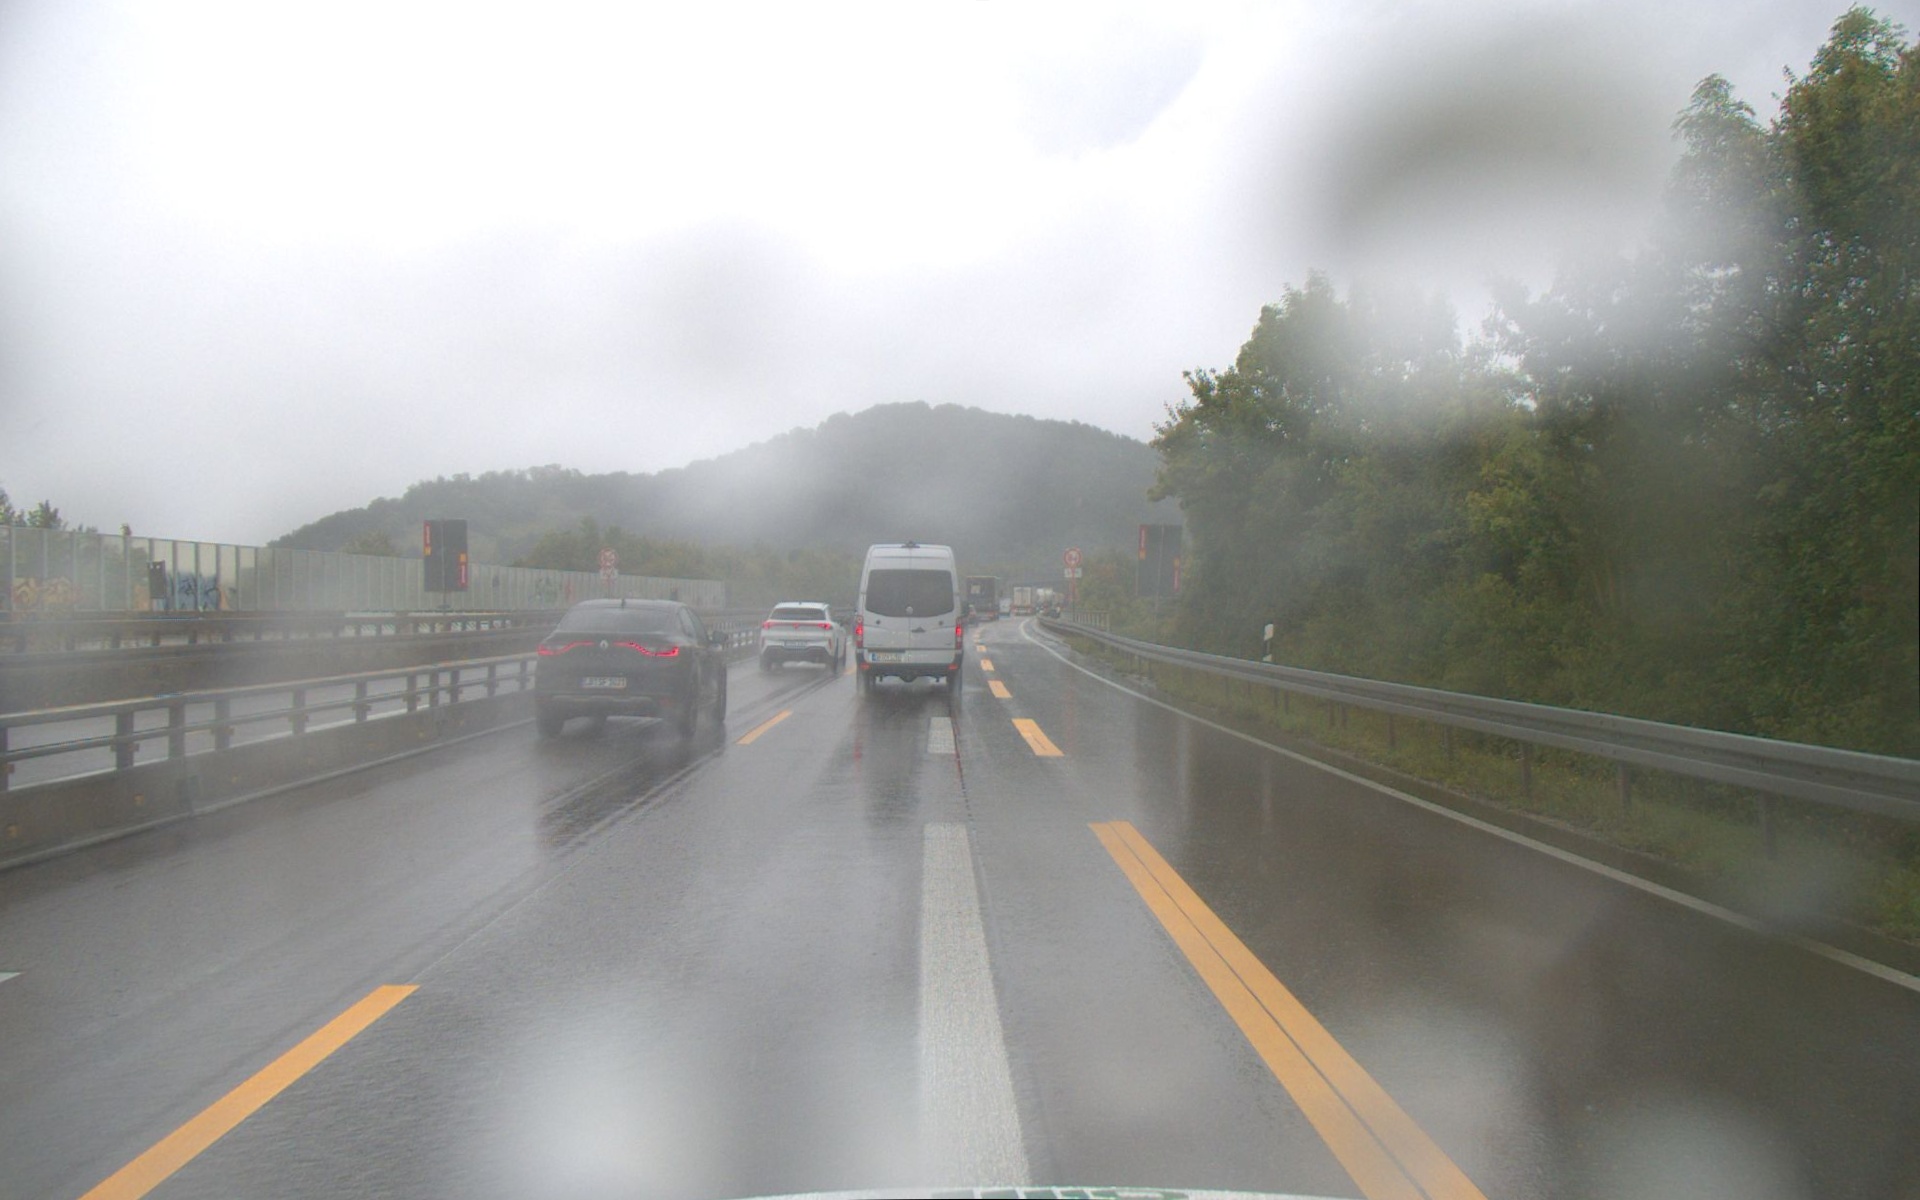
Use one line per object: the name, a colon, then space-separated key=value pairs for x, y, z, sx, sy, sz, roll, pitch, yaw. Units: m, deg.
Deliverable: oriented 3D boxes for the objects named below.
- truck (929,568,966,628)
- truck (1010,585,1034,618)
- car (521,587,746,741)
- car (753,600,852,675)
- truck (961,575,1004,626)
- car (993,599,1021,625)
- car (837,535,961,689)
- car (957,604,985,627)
truck: x=-0.662 y=-0.076 z=93.033 sx=1.953 sy=3.163 sz=8.498 roll=1 pitch=-1 yaw=0
truck: x=8.714 y=0.263 z=232.637 sx=2.972 sy=4.483 sz=9.628 roll=1 pitch=-1 yaw=4
car: x=-3.813 y=0.719 z=20.078 sx=1.953 sy=1.613 sz=4.411 roll=1 pitch=-1 yaw=-2
car: x=-3.716 y=0.875 z=39.872 sx=1.953 sy=1.646 sz=4.795 roll=1 pitch=-1 yaw=-1
truck: x=2.152 y=0.083 z=152.720 sx=3.506 sy=4.483 sz=9.627 roll=1 pitch=-1 yaw=3
car: x=5.716 y=1.466 z=199.295 sx=2.837 sy=2.938 sz=6.415 roll=1 pitch=-1 yaw=6
car: x=-1.075 y=0.239 z=31.296 sx=2.101 sy=2.616 sz=5.388 roll=1 pitch=-1 yaw=-1
car: x=0.776 y=1.051 z=112.565 sx=1.737 sy=1.501 sz=4.001 roll=1 pitch=-1 yaw=2
